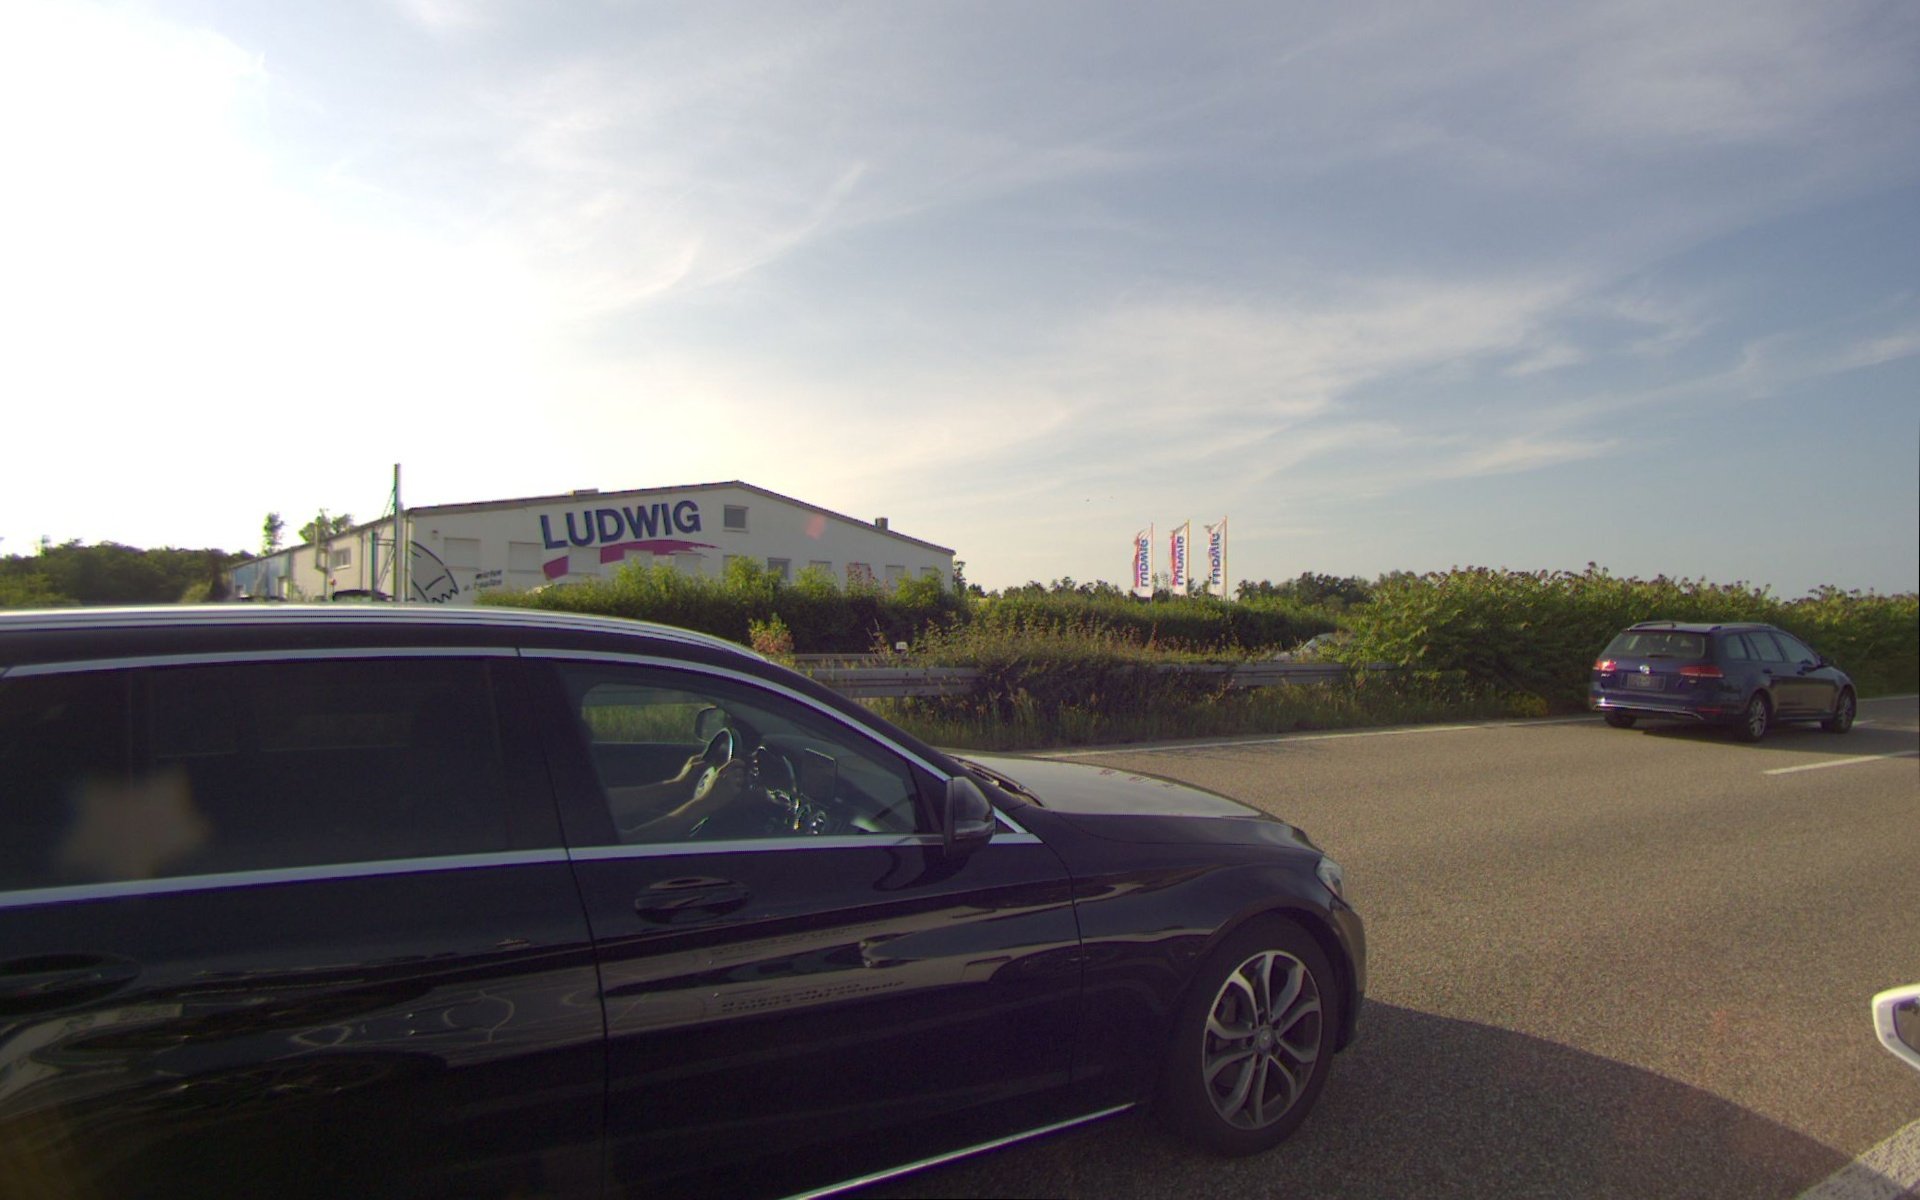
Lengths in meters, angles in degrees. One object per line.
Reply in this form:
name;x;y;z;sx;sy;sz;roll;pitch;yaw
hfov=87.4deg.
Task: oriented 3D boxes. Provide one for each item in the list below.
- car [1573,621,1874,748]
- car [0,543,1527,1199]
car;10.561;1.068;13.787;4.720;1.490;1.638;1;-1;-30
car;-0.707;0.700;2.650;4.963;1.490;1.565;1;-1;-30
